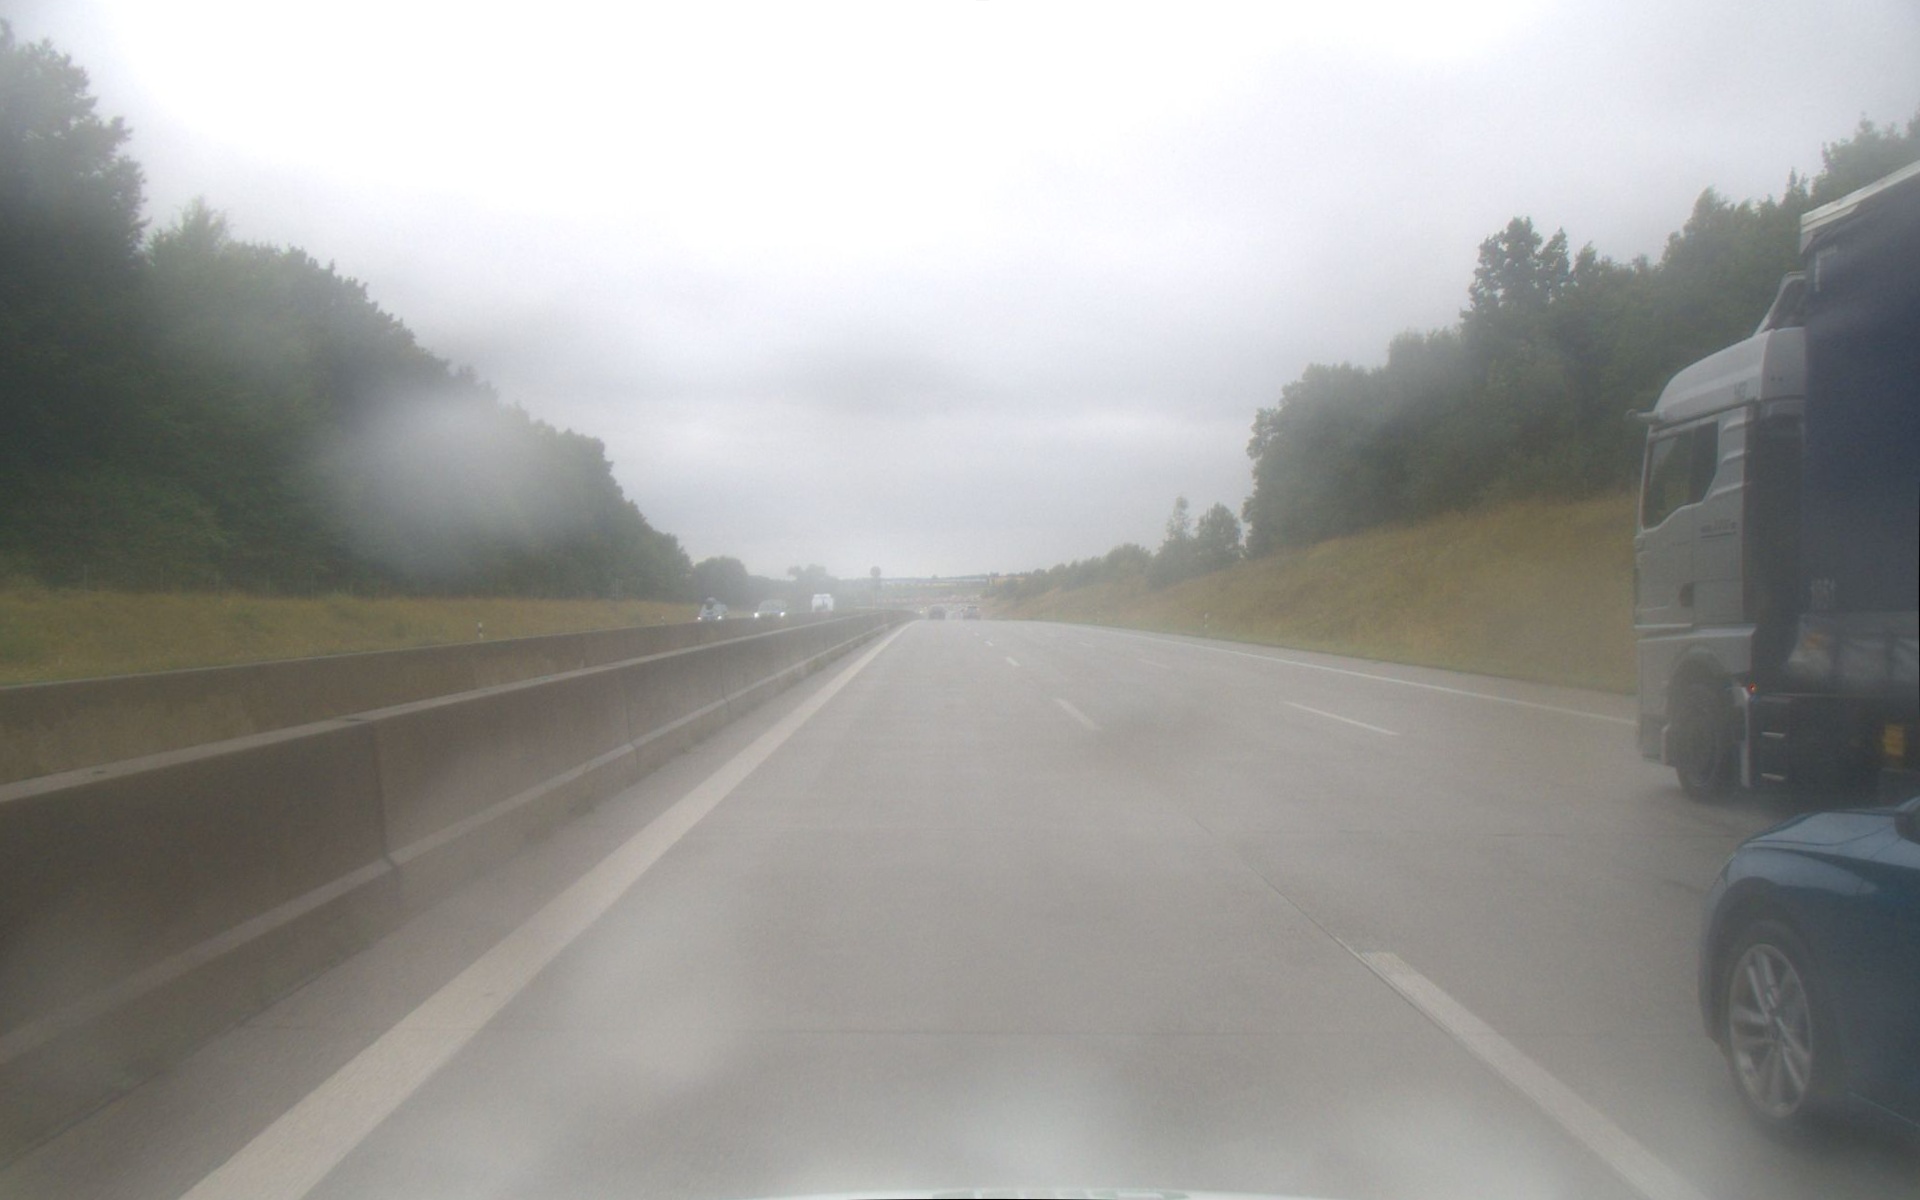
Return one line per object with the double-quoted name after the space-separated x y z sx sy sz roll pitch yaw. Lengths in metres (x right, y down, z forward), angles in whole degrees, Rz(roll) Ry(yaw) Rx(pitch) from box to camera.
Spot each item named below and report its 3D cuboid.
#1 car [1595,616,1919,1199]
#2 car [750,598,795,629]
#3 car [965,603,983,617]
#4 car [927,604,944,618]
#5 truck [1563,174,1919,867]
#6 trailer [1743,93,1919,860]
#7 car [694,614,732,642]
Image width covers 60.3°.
3.181 0.782 3.639 1.694 1.484 4.671 -1 -1 -1 "car"
-10.381 0.727 91.985 1.928 1.638 4.852 -1 0 0 "car"
1.457 1.042 177.298 1.810 1.354 4.429 0 1 -1 "car"
-2.541 1.183 171.768 1.694 1.354 4.429 0 1 -1 "car"
6.847 -0.465 12.300 2.582 4.023 5.685 1 0 0 "truck"
6.975 -0.689 4.076 2.651 4.456 15.202 1 0 -1 "trailer"
-17.011 1.882 114.060 2.018 1.833 4.850 -1 0 -2 "car"
